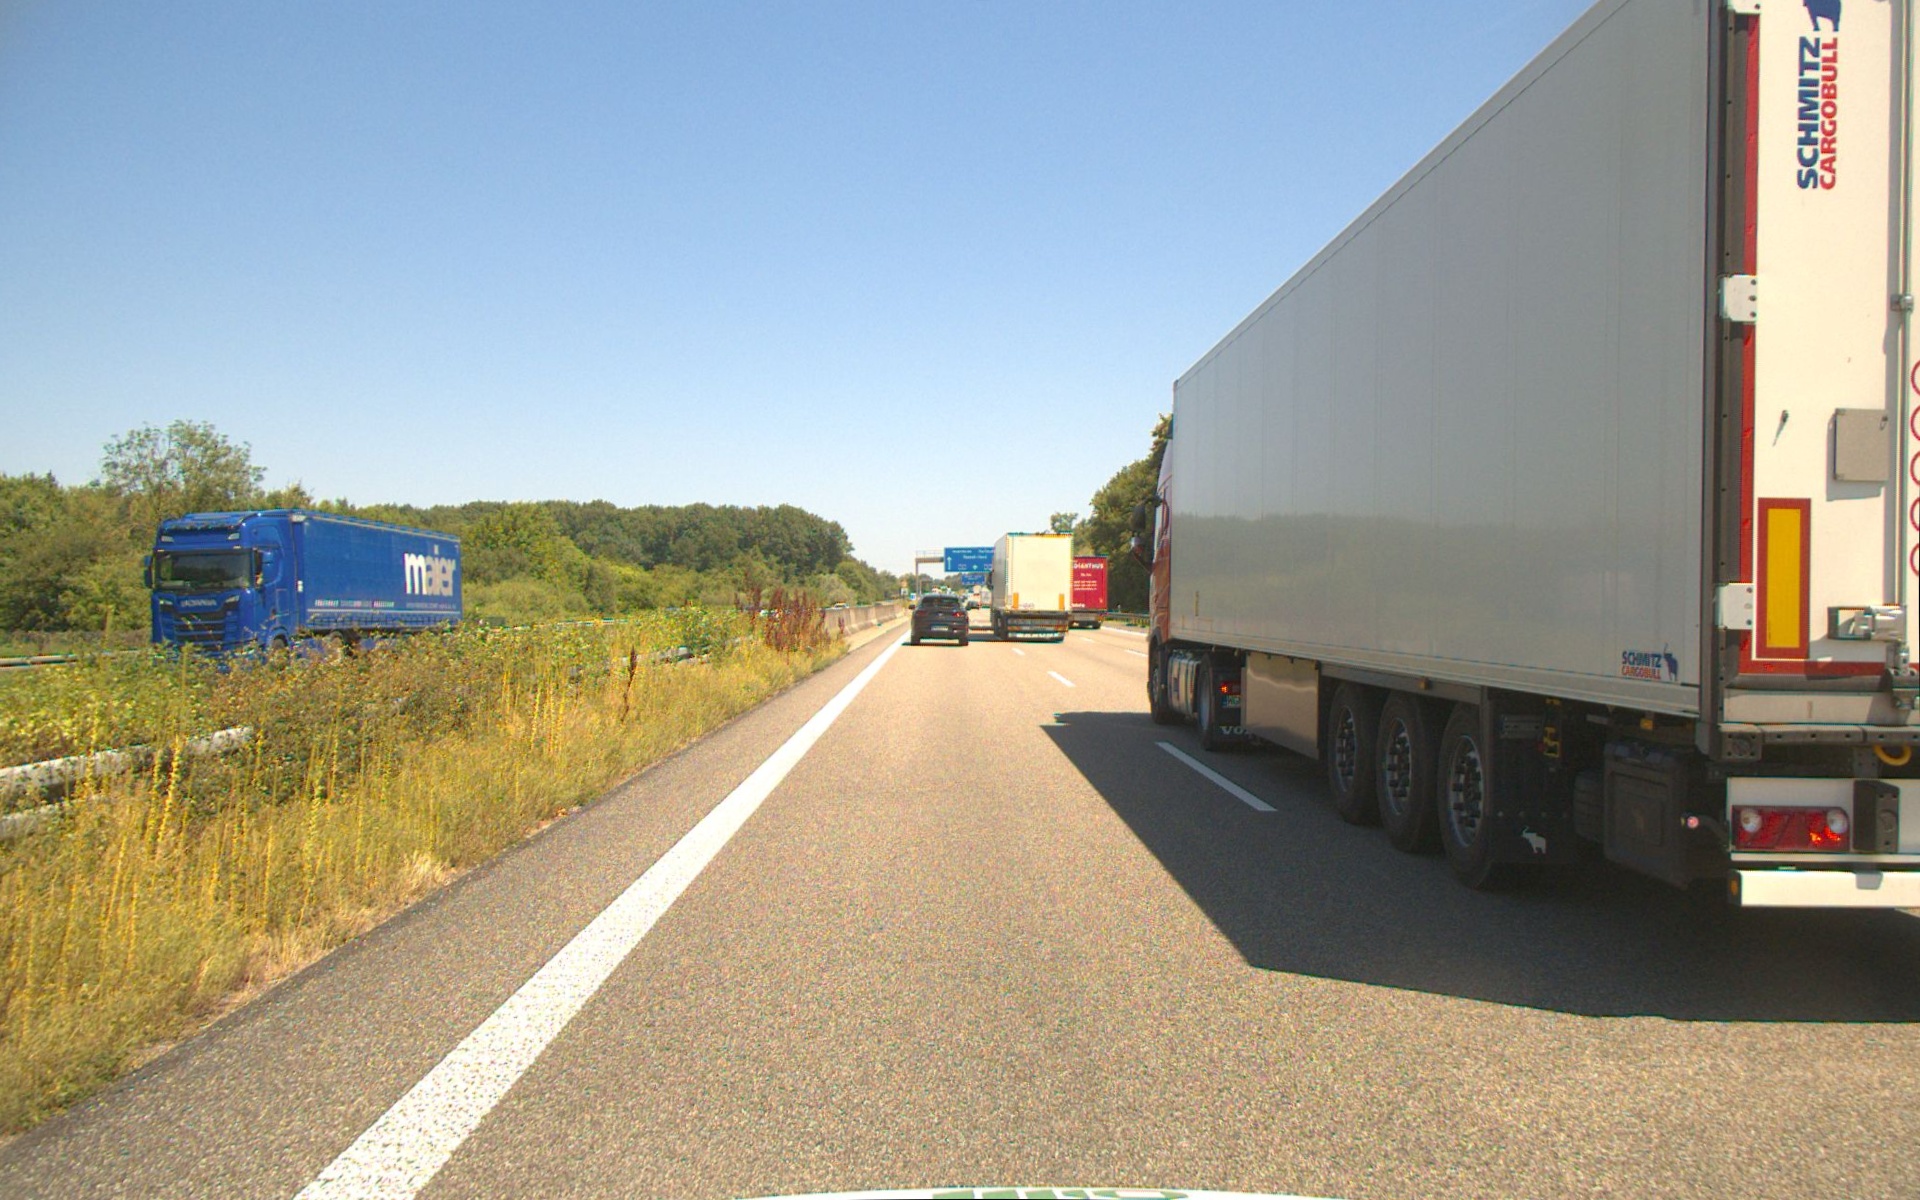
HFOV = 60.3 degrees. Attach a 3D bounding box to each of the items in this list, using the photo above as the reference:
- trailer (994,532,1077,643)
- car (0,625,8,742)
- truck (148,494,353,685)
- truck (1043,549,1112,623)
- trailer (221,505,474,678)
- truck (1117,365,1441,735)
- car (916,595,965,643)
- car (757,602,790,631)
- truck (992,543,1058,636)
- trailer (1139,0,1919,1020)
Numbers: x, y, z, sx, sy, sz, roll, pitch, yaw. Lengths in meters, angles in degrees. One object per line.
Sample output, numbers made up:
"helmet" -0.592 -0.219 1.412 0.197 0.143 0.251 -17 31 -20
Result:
"trailer" 2.955 -0.459 67.781 2.738 4.106 12.566 1 0 0
"car" -13.006 1.079 19.052 1.770 1.474 3.999 -1 0 -1
"truck" -17.091 -0.247 40.247 2.417 4.205 5.683 -3 0 -1
"truck" 7.024 -0.753 101.032 2.993 4.178 13.215 1 0 -1
"trailer" -17.232 -0.215 47.926 2.422 4.203 13.463 -3 0 -1
"truck" 3.835 -0.544 21.394 2.881 4.055 6.100 1 0 -1
"car" -0.675 0.637 56.814 1.626 1.576 3.782 1 0 -1
"car" -14.264 1.256 126.952 1.953 2.049 4.938 -2 0 -1
"truck" 2.939 -0.447 75.908 2.742 4.077 6.020 1 0 0
"trailer" 3.956 -0.567 13.786 2.878 4.088 16.197 1 0 -1
